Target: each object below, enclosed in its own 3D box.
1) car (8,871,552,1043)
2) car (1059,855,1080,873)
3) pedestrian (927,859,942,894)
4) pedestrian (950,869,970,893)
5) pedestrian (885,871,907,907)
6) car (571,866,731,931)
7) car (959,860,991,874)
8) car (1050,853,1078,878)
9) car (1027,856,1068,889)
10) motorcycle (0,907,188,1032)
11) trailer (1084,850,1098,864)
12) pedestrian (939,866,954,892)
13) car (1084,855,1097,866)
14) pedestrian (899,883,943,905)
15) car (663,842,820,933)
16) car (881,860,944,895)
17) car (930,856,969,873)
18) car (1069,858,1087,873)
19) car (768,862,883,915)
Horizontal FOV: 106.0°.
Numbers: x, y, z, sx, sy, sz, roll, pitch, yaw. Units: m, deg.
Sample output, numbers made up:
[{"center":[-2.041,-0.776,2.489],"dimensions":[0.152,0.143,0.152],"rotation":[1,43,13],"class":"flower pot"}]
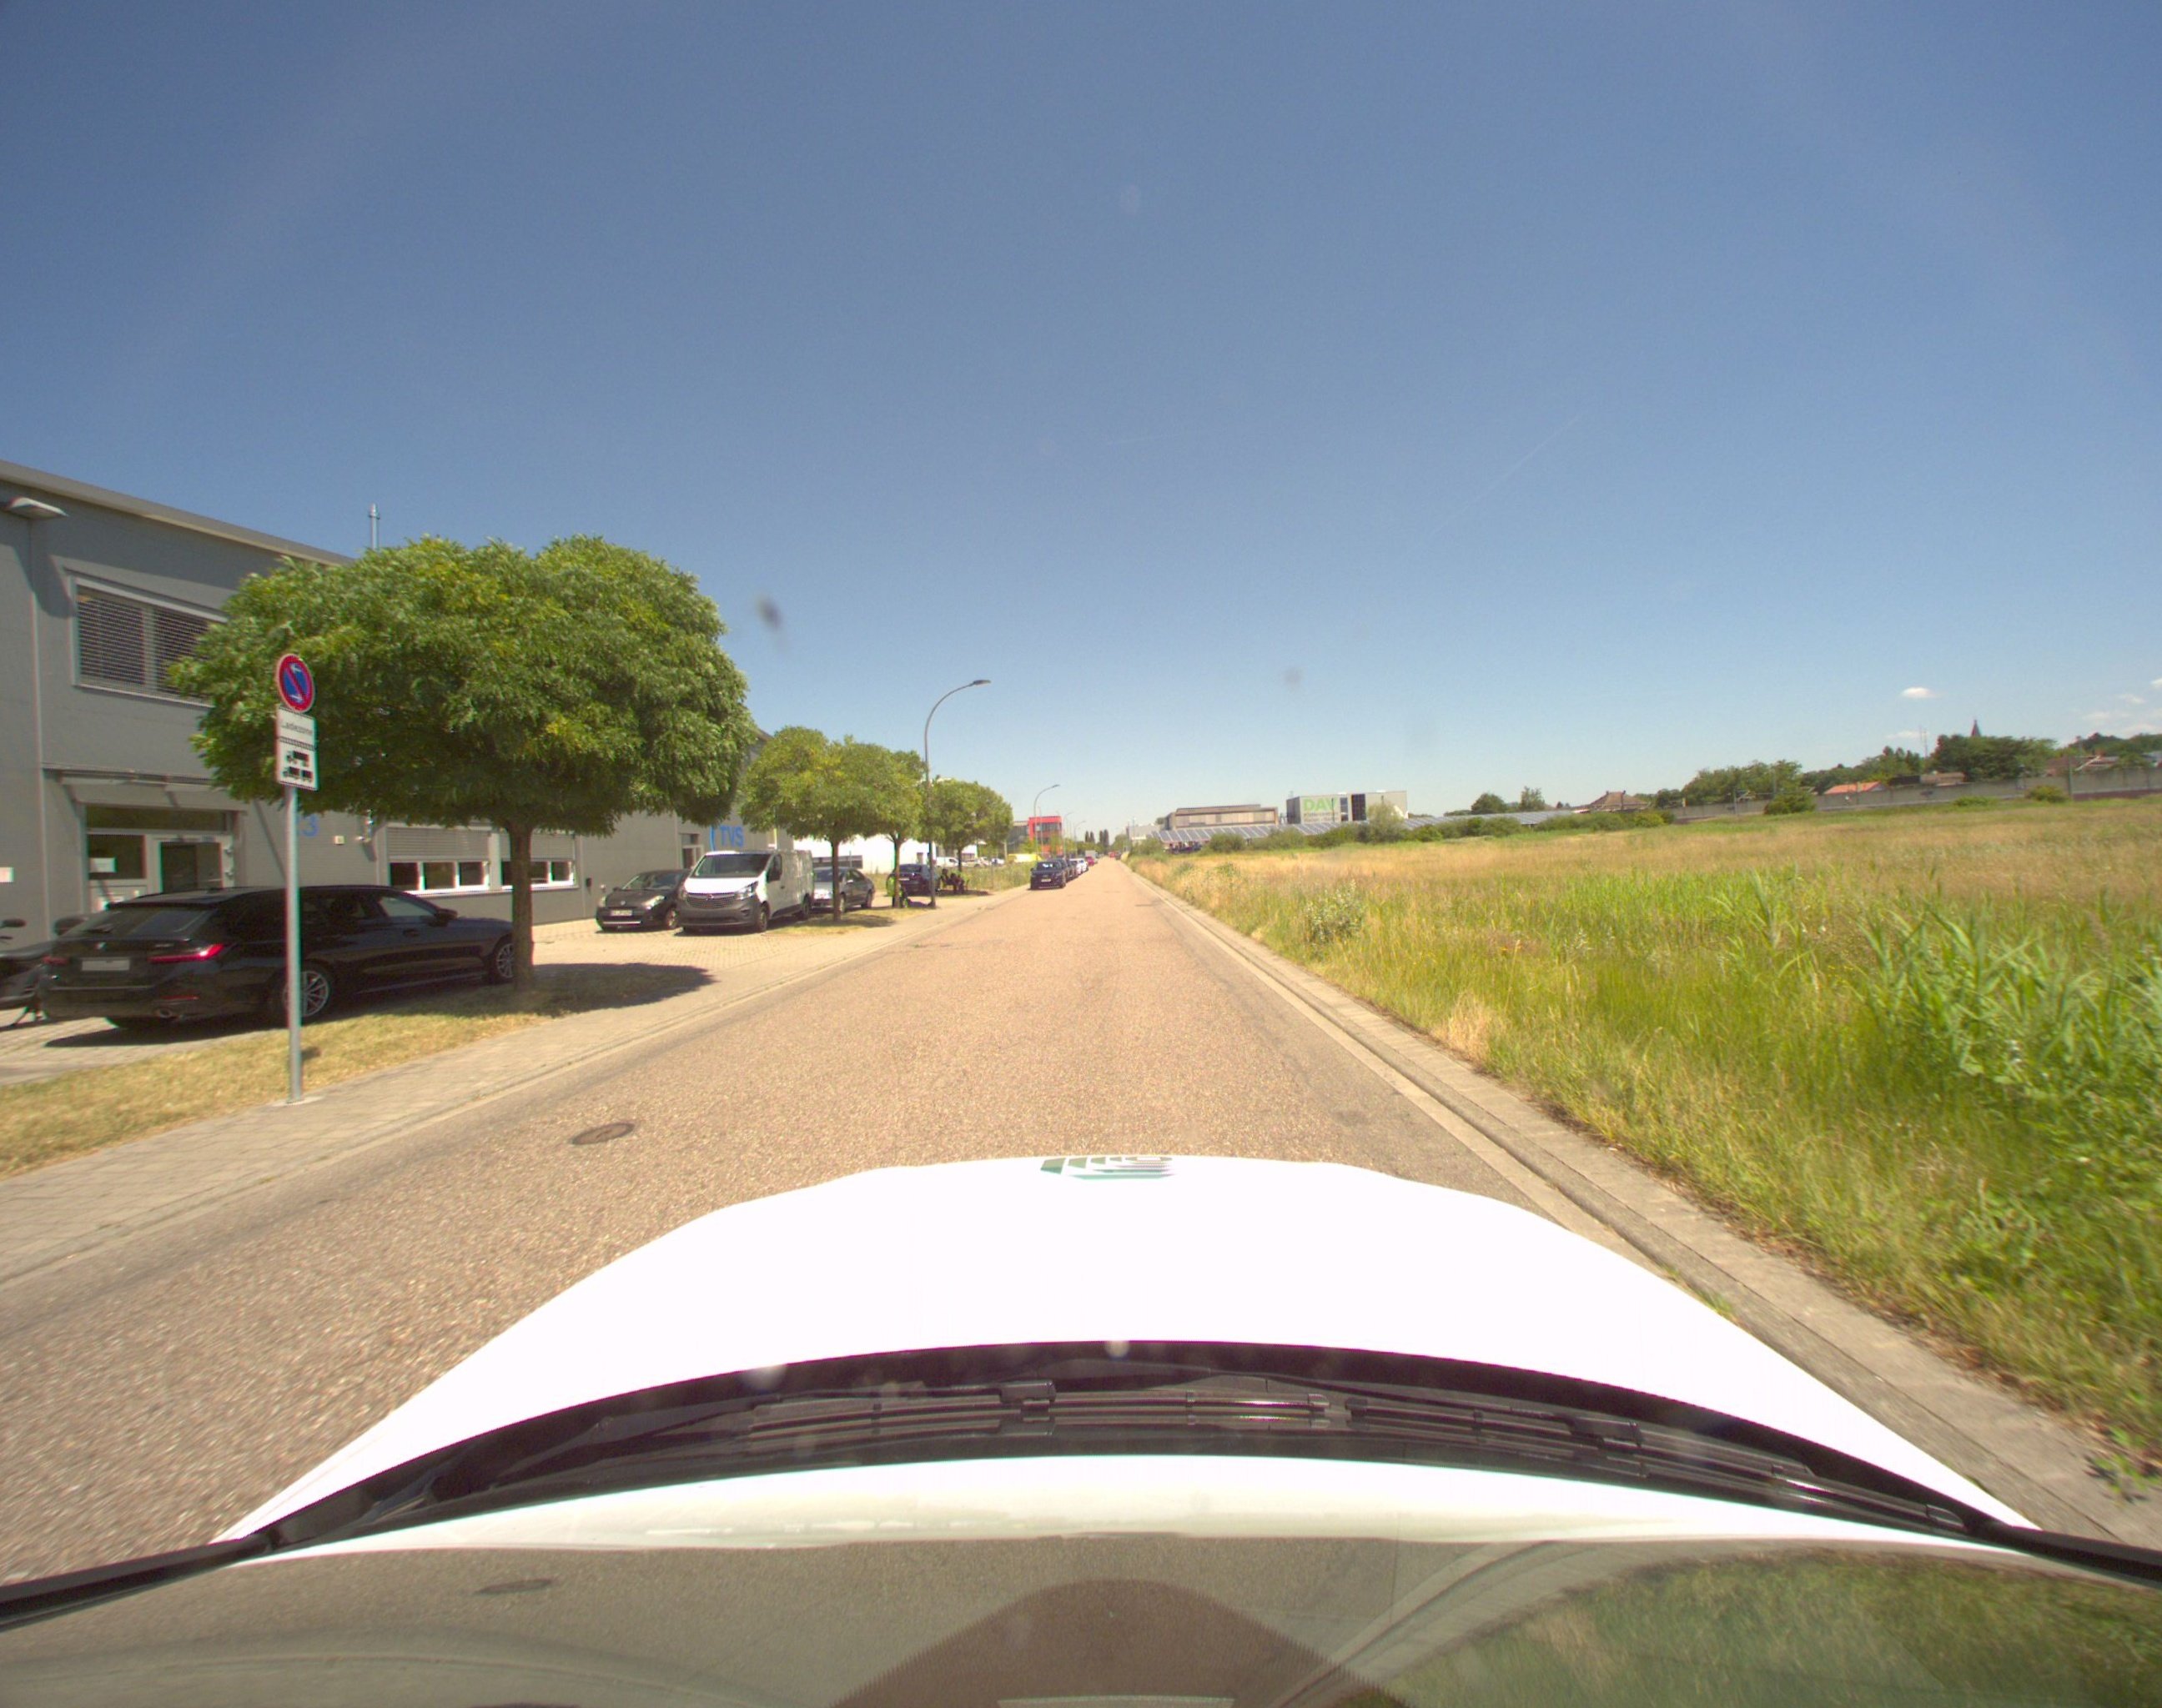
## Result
[{"center":[-8.840,0.986,9.783],"dimensions":[1.759,1.453,4.716],"rotation":[0,0,2],"class":"car"},{"center":[-1.053,0.908,77.386],"dimensions":[1.780,1.520,3.984],"rotation":[-3,0,2],"class":"car"},{"center":[-6.624,1.013,36.860],"dimensions":[0.503,1.595,0.754],"rotation":[0,0,4],"class":"pedestrian"},{"center":[-5.532,1.229,37.235],"dimensions":[0.747,1.099,0.647],"rotation":[0,0,6],"class":"pedestrian"},{"center":[-6.100,1.159,26.857],"dimensions":[0.475,1.150,0.557],"rotation":[0,-3,12],"class":"pedestrian"},{"center":[-10.920,1.074,21.051],"dimensions":[1.920,1.440,4.087],"rotation":[0,0,0],"class":"car"},{"center":[-16.413,1.958,125.793],"dimensions":[4.511,1.943,2.032],"rotation":[-3,0,2],"class":"car"},{"center":[-1.244,0.809,60.852],"dimensions":[1.762,1.663,4.554],"rotation":[-3,0,2],"class":"car"},{"center":[-1.782,0.969,44.608],"dimensions":[1.920,1.567,4.190],"rotation":[-3,0,1],"class":"car"},{"center":[-11.271,1.235,8.989],"dimensions":[0.513,1.162,2.081],"rotation":[0,0,1],"class":"motorcycle"},{"center":[1.731,0.474,138.645],"dimensions":[2.192,2.137,4.287],"rotation":[-3,0,2],"class":"trailer"},{"center":[-6.313,1.161,38.292],"dimensions":[0.503,1.191,0.754],"rotation":[0,0,4],"class":"pedestrian"},{"center":[1.485,1.019,127.038],"dimensions":[1.780,1.520,3.984],"rotation":[-3,0,2],"class":"car"},{"center":[-5.498,1.370,28.026],"dimensions":[1.352,0.749,0.754],"rotation":[0,0,4],"class":"pedestrian"},{"center":[-8.385,0.733,20.705],"dimensions":[1.831,2.019,5.125],"rotation":[0,0,0],"class":"car"},{"center":[-7.856,1.067,38.488],"dimensions":[1.920,1.464,4.692],"rotation":[0,0,1],"class":"car"},{"center":[-17.088,1.347,105.738],"dimensions":[4.511,1.943,2.032],"rotation":[-3,0,2],"class":"car"},{"center":[-0.287,1.230,88.659],"dimensions":[1.780,1.520,3.984],"rotation":[-3,0,2],"class":"car"},{"center":[-8.050,1.047,26.193],"dimensions":[1.919,1.440,4.844],"rotation":[-3,-1,3],"class":"car"}]
